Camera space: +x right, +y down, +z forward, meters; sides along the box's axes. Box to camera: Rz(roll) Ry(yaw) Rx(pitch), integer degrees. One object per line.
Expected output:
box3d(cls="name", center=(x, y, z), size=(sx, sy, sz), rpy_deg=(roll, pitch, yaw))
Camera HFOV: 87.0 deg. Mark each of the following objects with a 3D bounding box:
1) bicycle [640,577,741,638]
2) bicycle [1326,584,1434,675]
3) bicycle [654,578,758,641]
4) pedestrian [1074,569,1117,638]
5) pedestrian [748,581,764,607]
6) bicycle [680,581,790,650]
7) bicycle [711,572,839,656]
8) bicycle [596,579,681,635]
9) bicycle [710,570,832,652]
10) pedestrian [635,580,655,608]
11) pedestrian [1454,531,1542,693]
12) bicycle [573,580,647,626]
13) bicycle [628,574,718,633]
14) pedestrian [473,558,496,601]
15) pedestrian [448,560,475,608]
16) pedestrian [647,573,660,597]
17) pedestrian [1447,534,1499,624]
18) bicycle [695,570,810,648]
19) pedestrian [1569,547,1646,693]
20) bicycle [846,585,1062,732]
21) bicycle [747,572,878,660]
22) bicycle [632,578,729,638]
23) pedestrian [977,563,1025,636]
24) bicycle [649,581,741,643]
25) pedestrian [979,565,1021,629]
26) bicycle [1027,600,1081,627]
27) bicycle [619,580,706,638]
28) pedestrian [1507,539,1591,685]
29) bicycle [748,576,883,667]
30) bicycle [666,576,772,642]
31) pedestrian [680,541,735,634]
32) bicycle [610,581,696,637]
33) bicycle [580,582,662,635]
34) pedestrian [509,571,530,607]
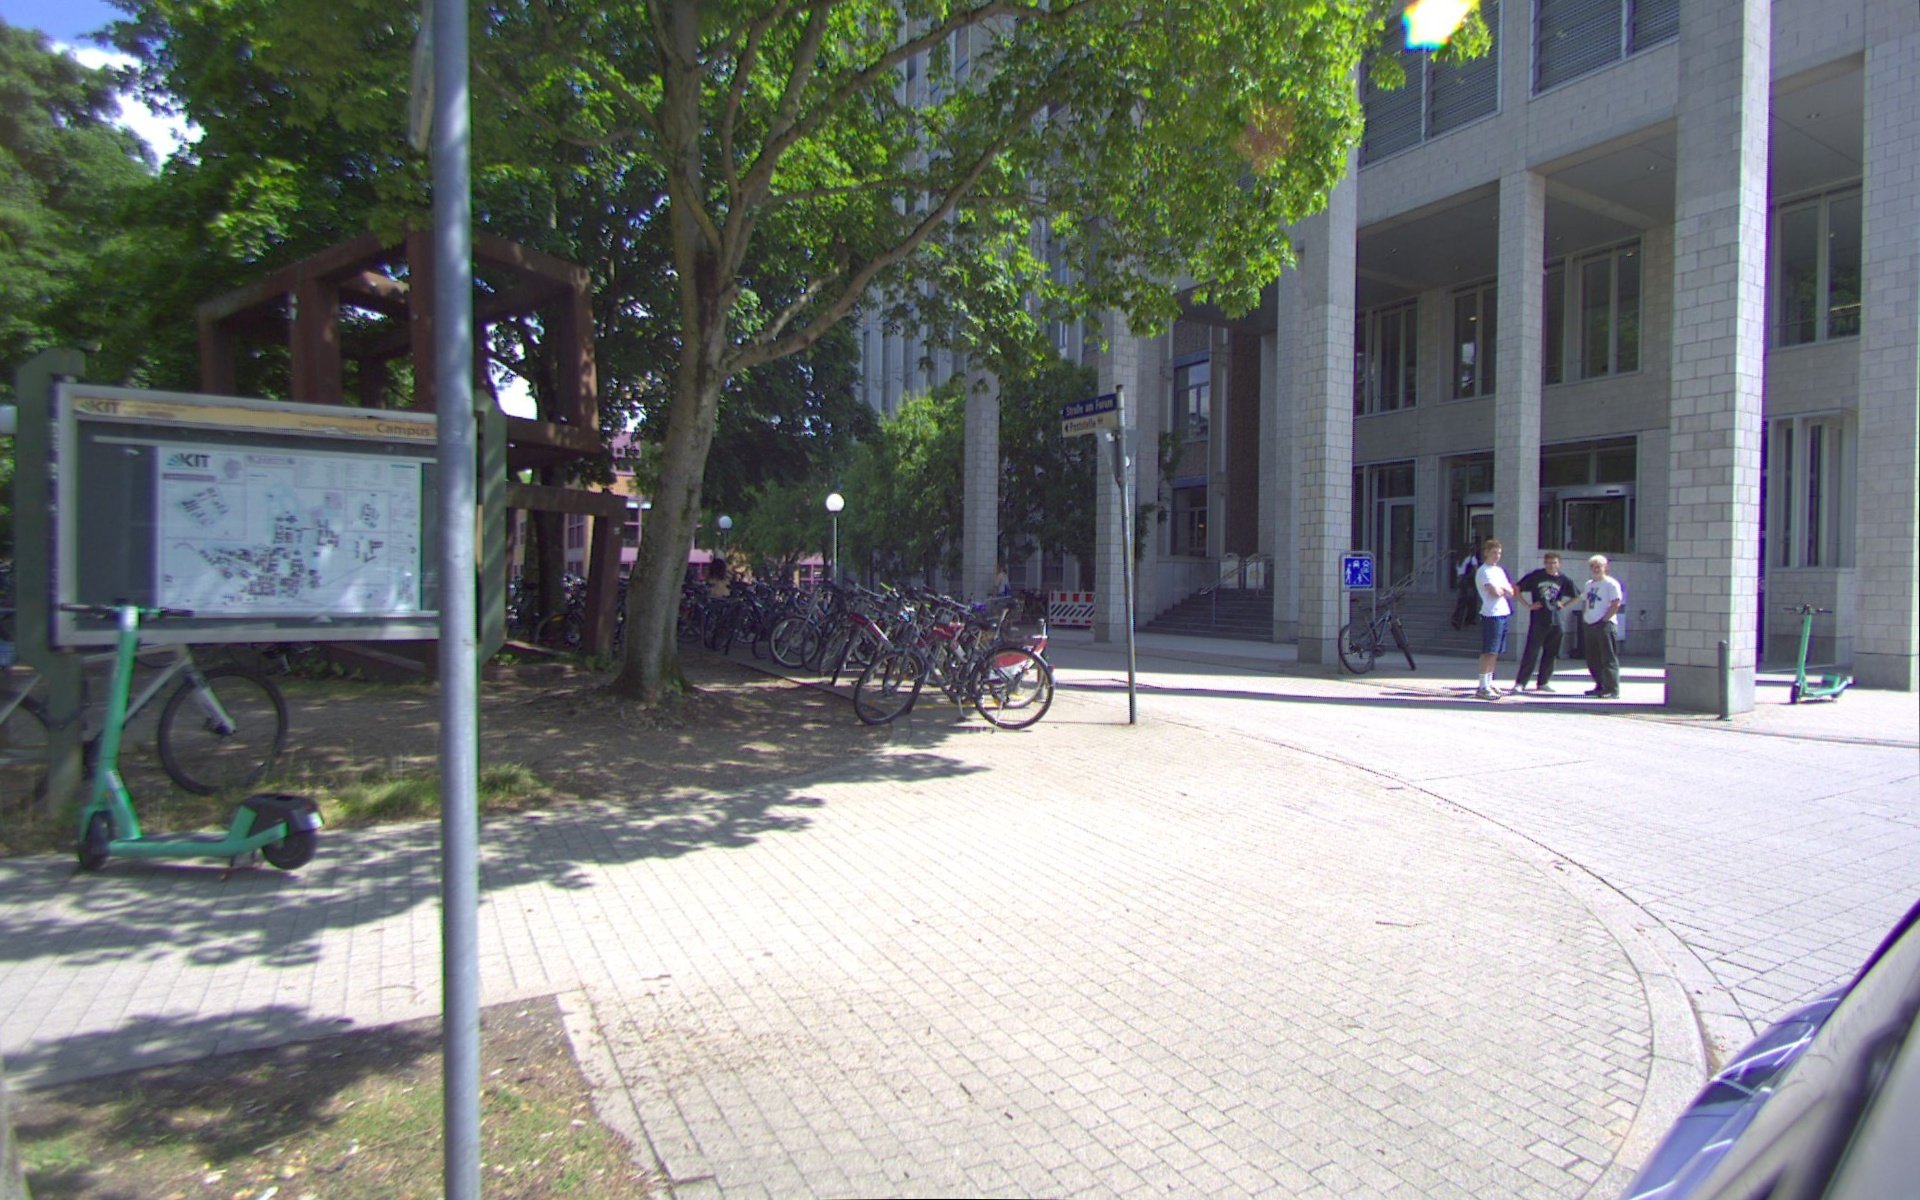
box3d(cls="bicycle", center=(-4.857, 0.152, 18.299), size=(1.656, 1.061, 0.617), rpy_deg=(1, -3, -35))
box3d(cls="bicycle", center=(6.242, 0.406, 15.015), size=(1.793, 1.257, 0.532), rpy_deg=(-1, 1, -31))
box3d(cls="bicycle", center=(-4.433, 0.174, 17.713), size=(1.656, 1.061, 0.617), rpy_deg=(1, -3, -35))
box3d(cls="pedestrian", center=(3.546, 0.076, 26.475), size=(0.733, 1.762, 0.939), rpy_deg=(0, 0, -22))
box3d(cls="pedestrian", center=(-14.641, -0.463, 72.713), size=(0.955, 1.785, 0.745), rpy_deg=(2, 2, -4))
box3d(cls="bicycle", center=(-3.624, 0.260, 16.385), size=(1.665, 1.061, 0.568), rpy_deg=(1, -3, -38))
box3d(cls="bicycle", center=(-2.660, 0.200, 14.564), size=(1.661, 1.139, 0.629), rpy_deg=(2, 1, -25))
box3d(cls="bicycle", center=(-6.844, 0.167, 21.574), size=(1.656, 1.144, 0.454), rpy_deg=(1, -3, -35))
box3d(cls="bicycle", center=(-2.851, 0.169, 15.276), size=(1.662, 1.165, 0.629), rpy_deg=(2, 1, -29))
box3d(cls="pedestrian", center=(-18.273, -0.340, 58.695), size=(0.716, 1.530, 1.206), rpy_deg=(2, 2, 3))
box3d(cls="pedestrian", center=(6.615, 0.134, 12.455), size=(0.673, 1.915, 0.687), rpy_deg=(-1, 0, -33))
box3d(cls="bicycle", center=(-8.646, 0.081, 25.008), size=(1.656, 1.098, 0.478), rpy_deg=(1, -3, -34))
box3d(cls="bicycle", center=(-5.705, 0.089, 20.157), size=(1.656, 1.144, 0.454), rpy_deg=(1, -3, -35))
box3d(cls="pedestrian", center=(-17.919, -0.783, 38.144), size=(0.729, 1.589, 0.722), rpy_deg=(1, 0, -22))
box3d(cls="pedestrian", center=(-16.655, -0.535, 33.829), size=(0.729, 1.589, 0.722), rpy_deg=(1, 0, -22))
box3d(cls="pedestrian", center=(-20.521, -0.999, 67.716), size=(0.678, 1.530, 0.516), rpy_deg=(1, 3, -32))
box3d(cls="pedestrian", center=(10.323, -0.420, 20.377), size=(0.672, 1.756, 0.690), rpy_deg=(0, 0, -33))
box3d(cls="bicycle", center=(-3.236, 0.154, 15.847), size=(1.665, 1.165, 0.627), rpy_deg=(1, -3, -39))
box3d(cls="pedestrian", center=(7.979, 0.230, 12.484), size=(0.531, 1.751, 0.615), rpy_deg=(0, 1, -29))
box3d(cls="bicycle", center=(-0.044, 0.469, 8.543), size=(1.753, 1.155, 0.606), rpy_deg=(1, 2, 3))
box3d(cls="bicycle", center=(-2.026, 0.227, 13.962), size=(1.661, 1.139, 0.567), rpy_deg=(2, 1, -25))
box3d(cls="bicycle", center=(-5.180, 0.162, 18.783), size=(1.656, 1.061, 0.501), rpy_deg=(1, -3, -35))
box3d(cls="pedestrian", center=(1.008, -0.023, 24.831), size=(0.934, 1.762, 0.738), rpy_deg=(0, 0, 41))
box3d(cls="bicycle", center=(-5.103, 0.242, 19.522), size=(1.656, 1.144, 0.454), rpy_deg=(1, -3, -35))
box3d(cls="pedestrian", center=(1.127, -0.077, 28.419), size=(0.934, 1.762, 0.738), rpy_deg=(0, 0, 42))
box3d(cls="bicycle", center=(2.989, 0.433, 32.479), size=(0.631, 0.769, 1.991), rpy_deg=(1, 1, -32))
box3d(cls="bicycle", center=(-6.069, 0.191, 20.692), size=(1.656, 1.144, 0.454), rpy_deg=(1, -3, -35))
box3d(cls="pedestrian", center=(7.606, 0.142, 13.089), size=(0.799, 1.819, 0.617), rpy_deg=(0, 1, 17))
box3d(cls="bicycle", center=(-1.914, 0.293, 13.443), size=(1.661, 1.139, 0.483), rpy_deg=(2, 1, -25))
box3d(cls="bicycle", center=(-4.058, 0.163, 17.078), size=(1.661, 1.061, 0.619), rpy_deg=(1, -2, -22))
box3d(cls="pedestrian", center=(-4.809, -0.233, 19.289), size=(0.927, 1.725, 0.428), rpy_deg=(1, -2, -35))
box3d(cls="bicycle", center=(-6.402, 0.206, 21.174), size=(1.656, 1.144, 0.454), rpy_deg=(1, -3, -35))
box3d(cls="bicycle", center=(-7.516, 0.200, 22.476), size=(1.656, 1.144, 0.454), rpy_deg=(1, -3, -35))
box3d(cls="pedestrian", center=(-19.613, -0.490, 45.062), size=(0.682, 1.530, 0.512), rpy_deg=(3, 2, 17))
